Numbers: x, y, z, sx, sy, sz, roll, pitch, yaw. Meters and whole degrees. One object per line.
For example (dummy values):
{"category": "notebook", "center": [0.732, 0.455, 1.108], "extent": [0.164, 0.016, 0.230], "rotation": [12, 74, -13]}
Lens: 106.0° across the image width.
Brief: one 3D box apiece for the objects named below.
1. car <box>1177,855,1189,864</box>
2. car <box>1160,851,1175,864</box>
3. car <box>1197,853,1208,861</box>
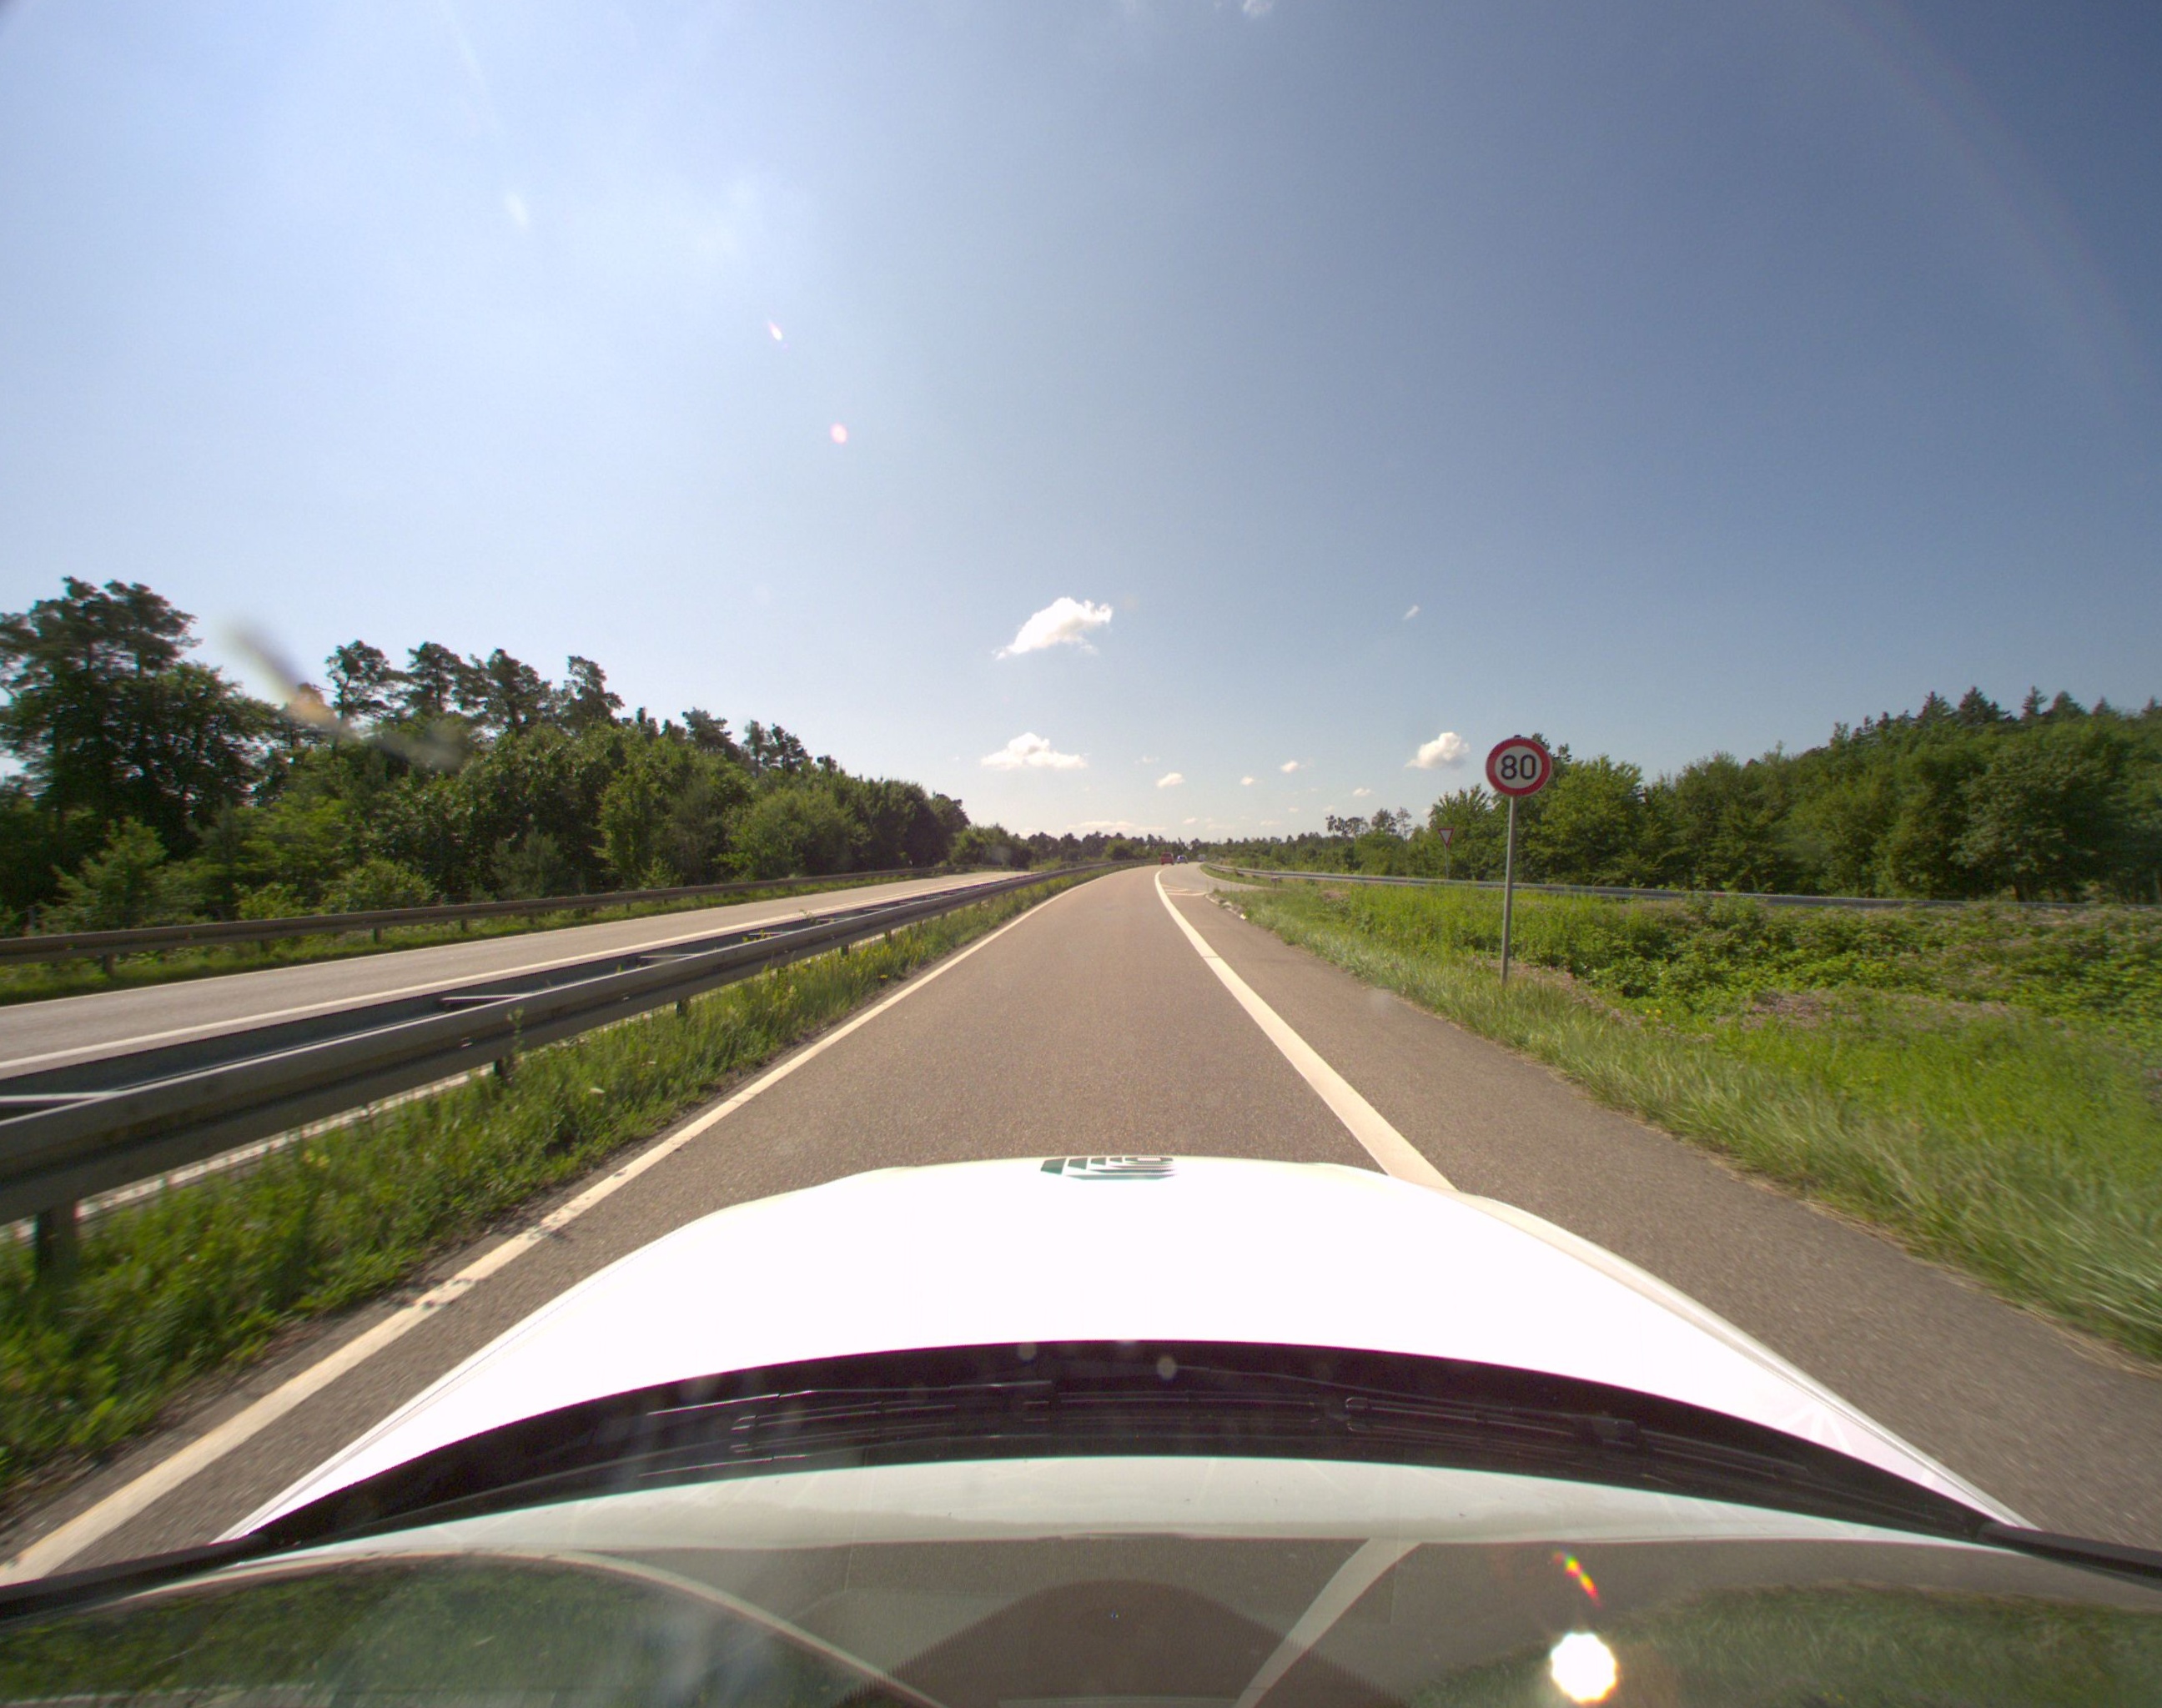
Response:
{"category": "car", "center": [19.149, 1.064, 153.155], "extent": [1.995, 1.494, 4.250], "rotation": [0, -1, 10]}
{"category": "car", "center": [13.979, 0.652, 130.903], "extent": [2.064, 1.993, 5.125], "rotation": [0, -1, 10]}
{"category": "car", "center": [30.439, 0.864, 203.628], "extent": [2.169, 1.955, 5.825], "rotation": [0, -1, 14]}
